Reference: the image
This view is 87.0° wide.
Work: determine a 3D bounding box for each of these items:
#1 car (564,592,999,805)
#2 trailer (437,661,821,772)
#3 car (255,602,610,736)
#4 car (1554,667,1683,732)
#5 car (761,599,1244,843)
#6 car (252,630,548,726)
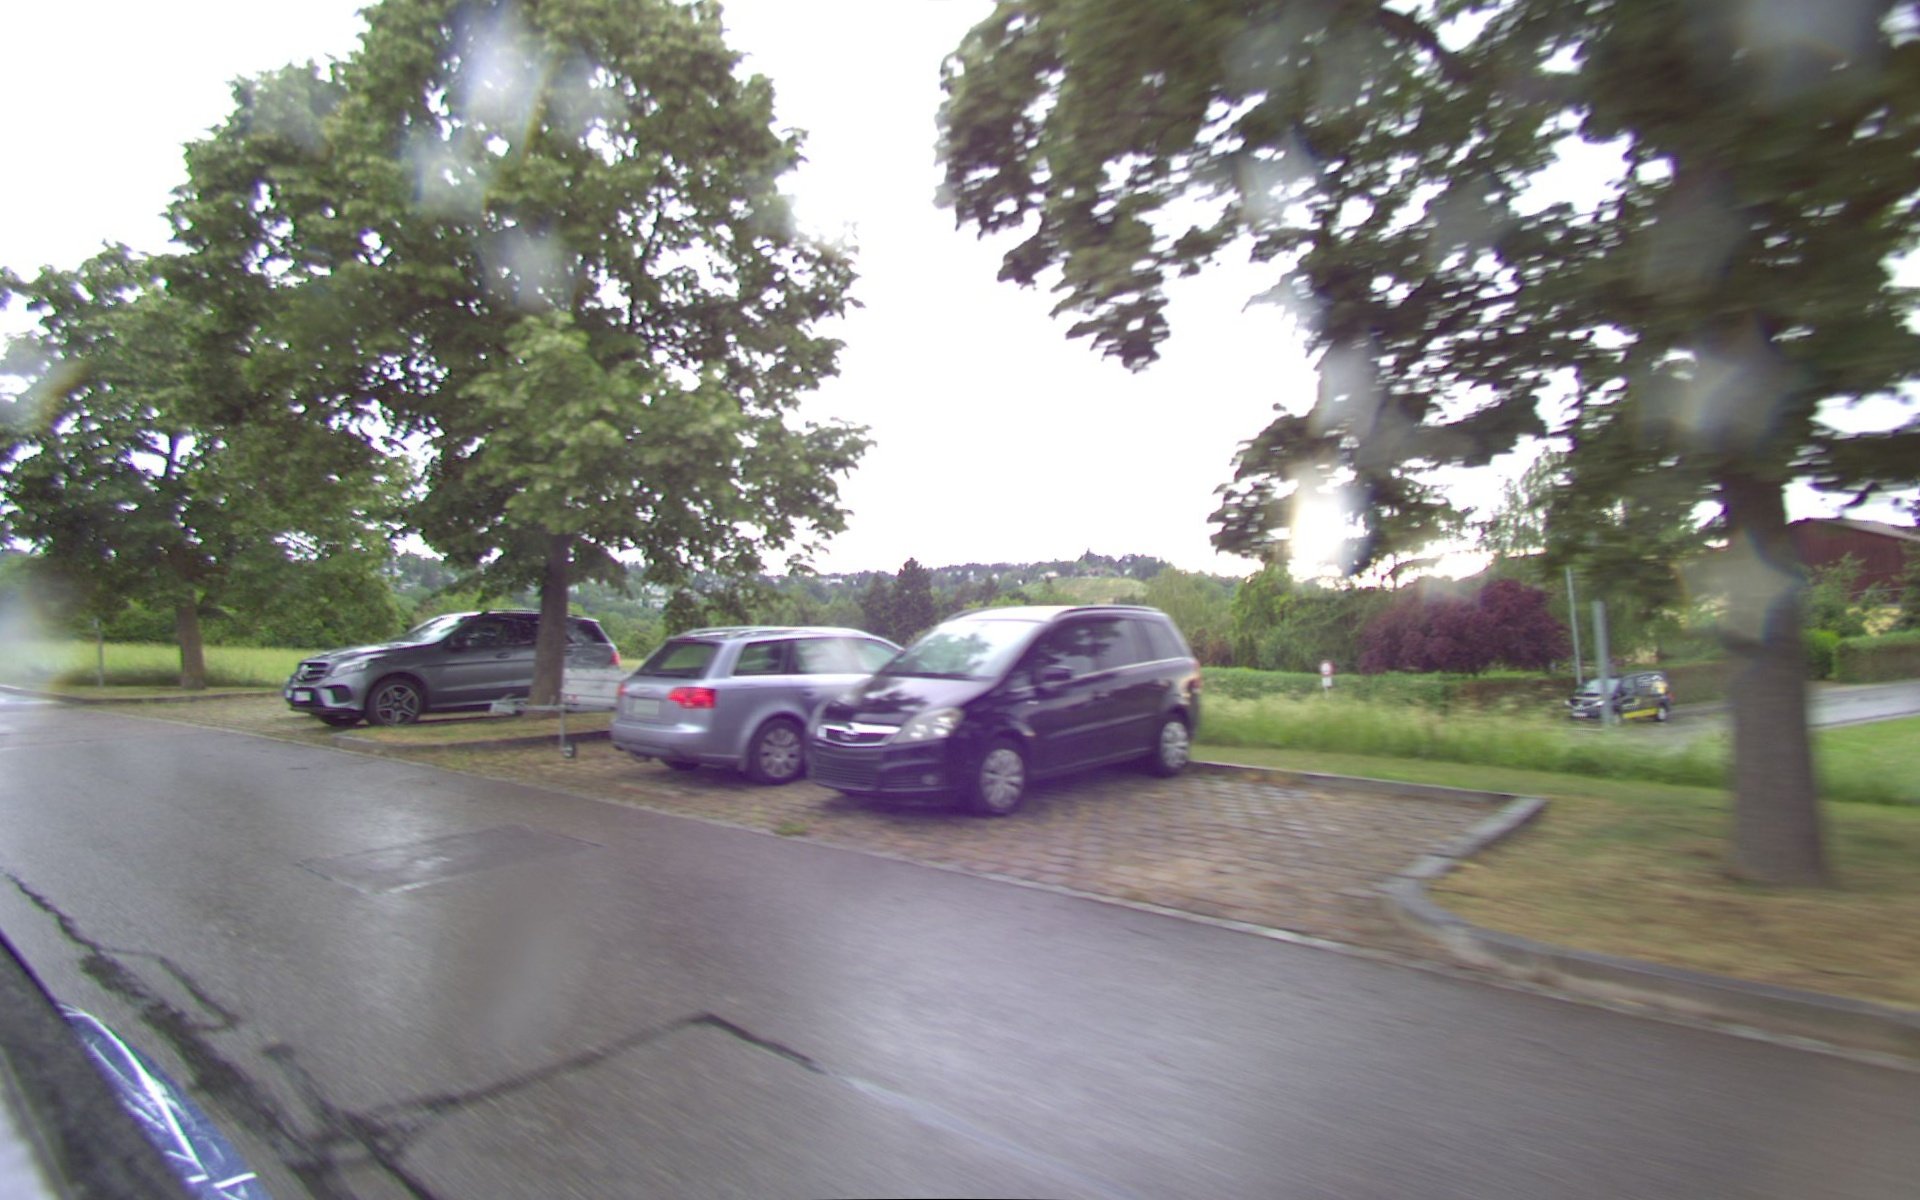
[{"bbox_3d":[-1.672,0.831,10.425,2.026,1.735,4.029,-1,-1,43],"label":"car"},{"bbox_3d":[-3.773,1.269,12.037,1.998,0.968,3.901,-2,-3,40],"label":"trailer"},{"bbox_3d":[-7.873,1.006,15.486,2.042,1.735,4.326,-1,-3,38],"label":"car"},{"bbox_3d":[24.169,3.656,37.157,4.425,2.237,1.936,4,-5,-26],"label":"car"},{"bbox_3d":[0.633,0.825,8.976,1.806,1.602,4.568,-1,-1,42],"label":"car"},{"bbox_3d":[-9.592,1.272,17.670,1.769,1.442,4.177,0,-2,34],"label":"car"}]
